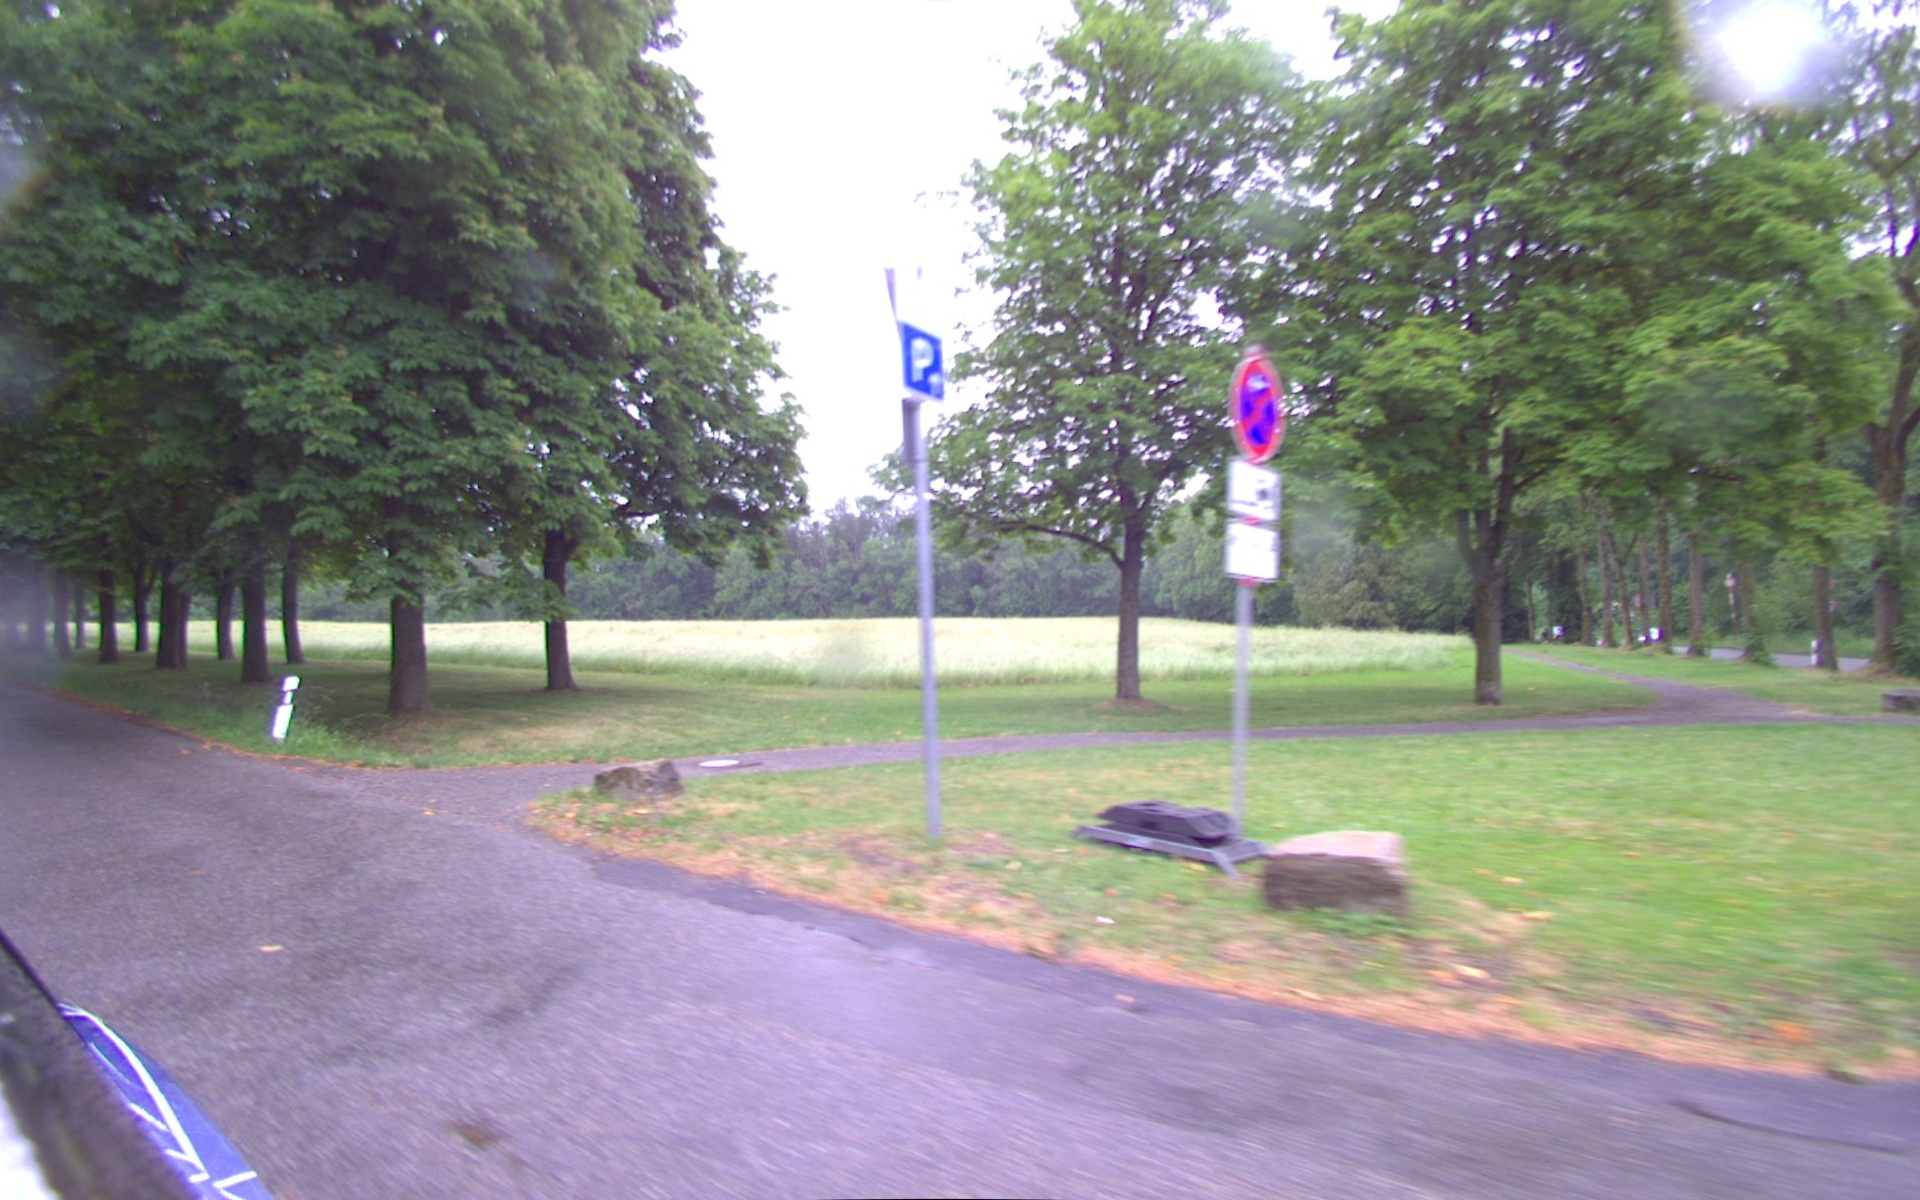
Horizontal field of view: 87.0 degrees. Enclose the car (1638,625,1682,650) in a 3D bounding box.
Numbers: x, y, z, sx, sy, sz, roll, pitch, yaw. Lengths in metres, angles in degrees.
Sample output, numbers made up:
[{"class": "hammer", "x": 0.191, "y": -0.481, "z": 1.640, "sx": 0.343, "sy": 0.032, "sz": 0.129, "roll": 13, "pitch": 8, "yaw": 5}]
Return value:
[{"class": "car", "x": 46.410, "y": 2.459, "z": 67.163, "sx": 1.722, "sy": 1.494, "sz": 4.140, "roll": -1, "pitch": -1, "yaw": 26}]
